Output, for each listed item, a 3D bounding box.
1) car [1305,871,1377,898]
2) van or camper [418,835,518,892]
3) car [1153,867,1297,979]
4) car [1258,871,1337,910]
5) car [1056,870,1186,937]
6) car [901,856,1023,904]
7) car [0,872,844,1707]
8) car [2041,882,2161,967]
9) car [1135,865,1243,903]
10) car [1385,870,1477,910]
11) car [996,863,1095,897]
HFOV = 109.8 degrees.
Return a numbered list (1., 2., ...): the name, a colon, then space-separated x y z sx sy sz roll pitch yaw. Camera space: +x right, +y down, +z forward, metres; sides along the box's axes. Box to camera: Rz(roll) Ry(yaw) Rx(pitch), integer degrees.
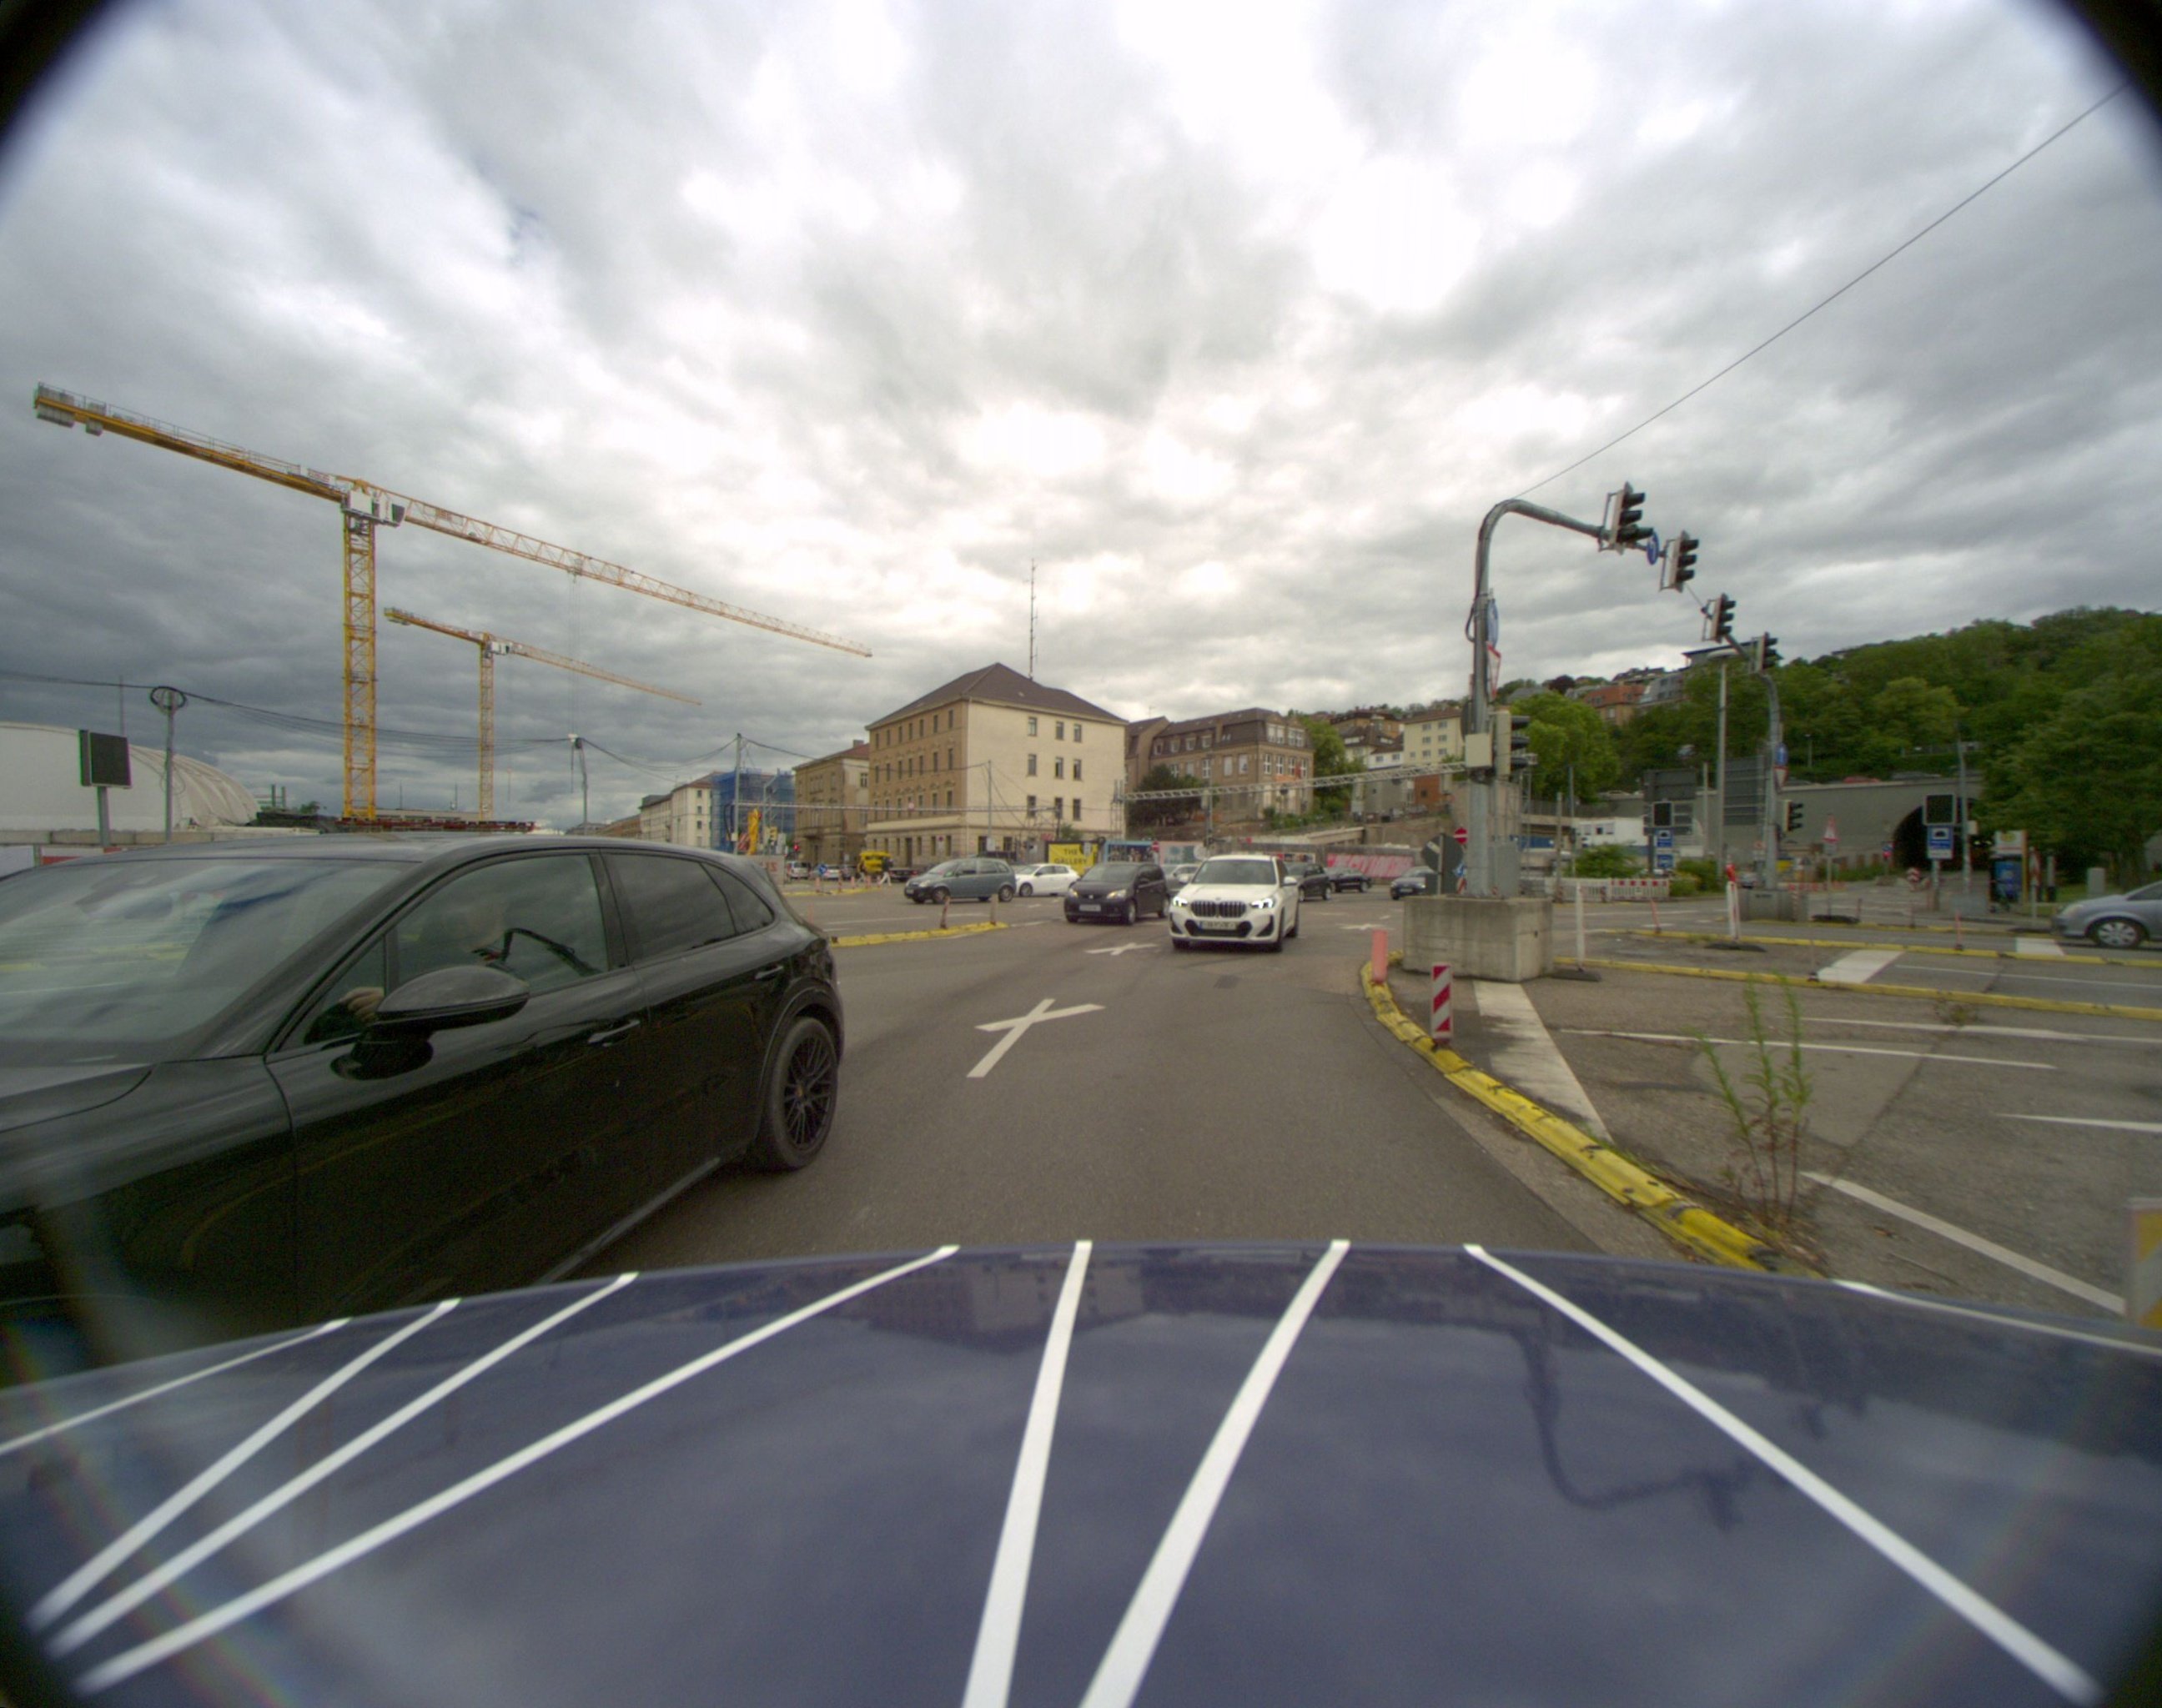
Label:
1. car: 13.896 1.613 40.518 3.711 1.381 1.724 2 -1 -34
2. van or camper: -25.471 0.349 31.777 2.002 2.214 3.992 0 1 -19
3. car: 2.624 1.048 13.154 1.809 1.595 3.719 -1 -1 21
4. car: 8.703 1.425 30.370 1.573 1.411 3.579 1 -1 43
5. car: 1.156 1.157 19.268 1.730 1.461 4.428 1 -1 25
6. car: -4.185 0.881 27.029 3.963 1.564 1.688 0 -1 -39
7. car: -2.502 0.929 2.083 1.955 1.638 4.610 0 0 4
8. car: 20.566 1.278 13.635 1.774 1.495 4.120 0 -1 -39
9. car: 4.865 1.335 33.907 4.692 1.569 1.906 2 -1 -34
10. car: 14.784 1.452 32.050 4.009 1.543 1.994 1 0 -40
11. car: -1.533 1.098 33.508 4.095 1.407 1.688 0 -1 -37
